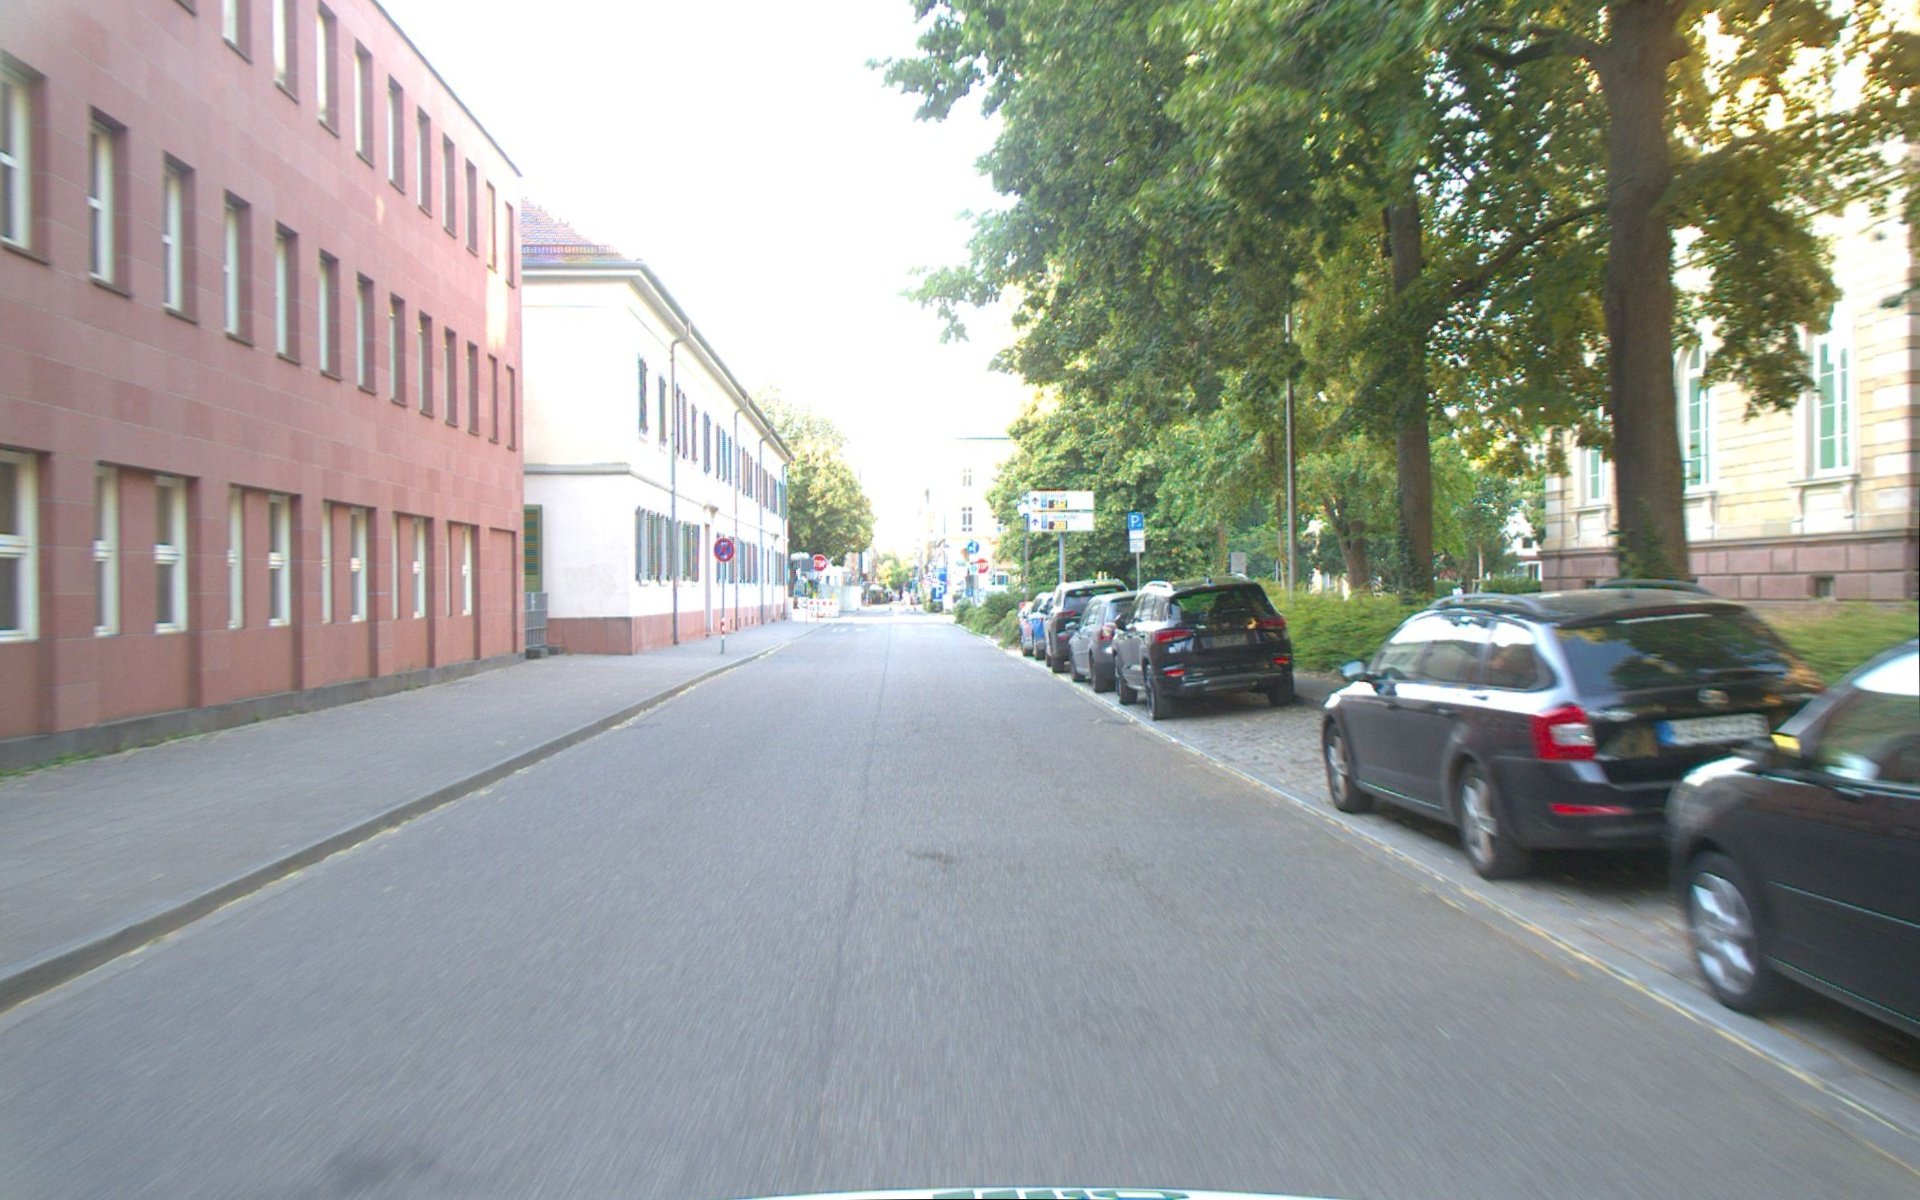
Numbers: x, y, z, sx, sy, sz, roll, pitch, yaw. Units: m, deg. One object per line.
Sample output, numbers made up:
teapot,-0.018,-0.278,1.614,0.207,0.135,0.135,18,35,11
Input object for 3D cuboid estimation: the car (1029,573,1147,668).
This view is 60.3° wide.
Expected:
car,2.412,0.387,32.263,1.689,1.680,4.710,-1,0,-3

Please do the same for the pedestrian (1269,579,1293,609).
pedestrian,13.036,-0.252,67.189,0.790,1.212,0.789,-1,0,1

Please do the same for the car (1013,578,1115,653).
car,2.349,0.323,38.410,1.690,1.514,4.607,-4,0,-4

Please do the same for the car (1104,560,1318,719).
car,3.093,0.416,21.323,1.771,1.679,4.416,-5,1,-3

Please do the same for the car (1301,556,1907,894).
car,3.480,0.590,9.985,1.700,1.533,4.519,-1,0,-3

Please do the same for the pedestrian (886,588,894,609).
pedestrian,-6.130,-0.135,145.408,0.644,1.790,0.745,-1,0,-2

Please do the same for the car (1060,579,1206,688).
car,2.689,0.504,26.545,1.689,1.565,4.187,-1,0,-3

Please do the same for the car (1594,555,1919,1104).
car,3.606,0.633,4.976,1.689,1.560,4.189,-5,0,0

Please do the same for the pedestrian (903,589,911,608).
pedestrian,-4.588,-0.130,143.806,0.644,1.645,0.745,-1,0,-2

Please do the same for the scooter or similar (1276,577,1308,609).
scooter or similar,13.327,-0.273,66.311,1.198,1.267,0.416,-1,0,-19
